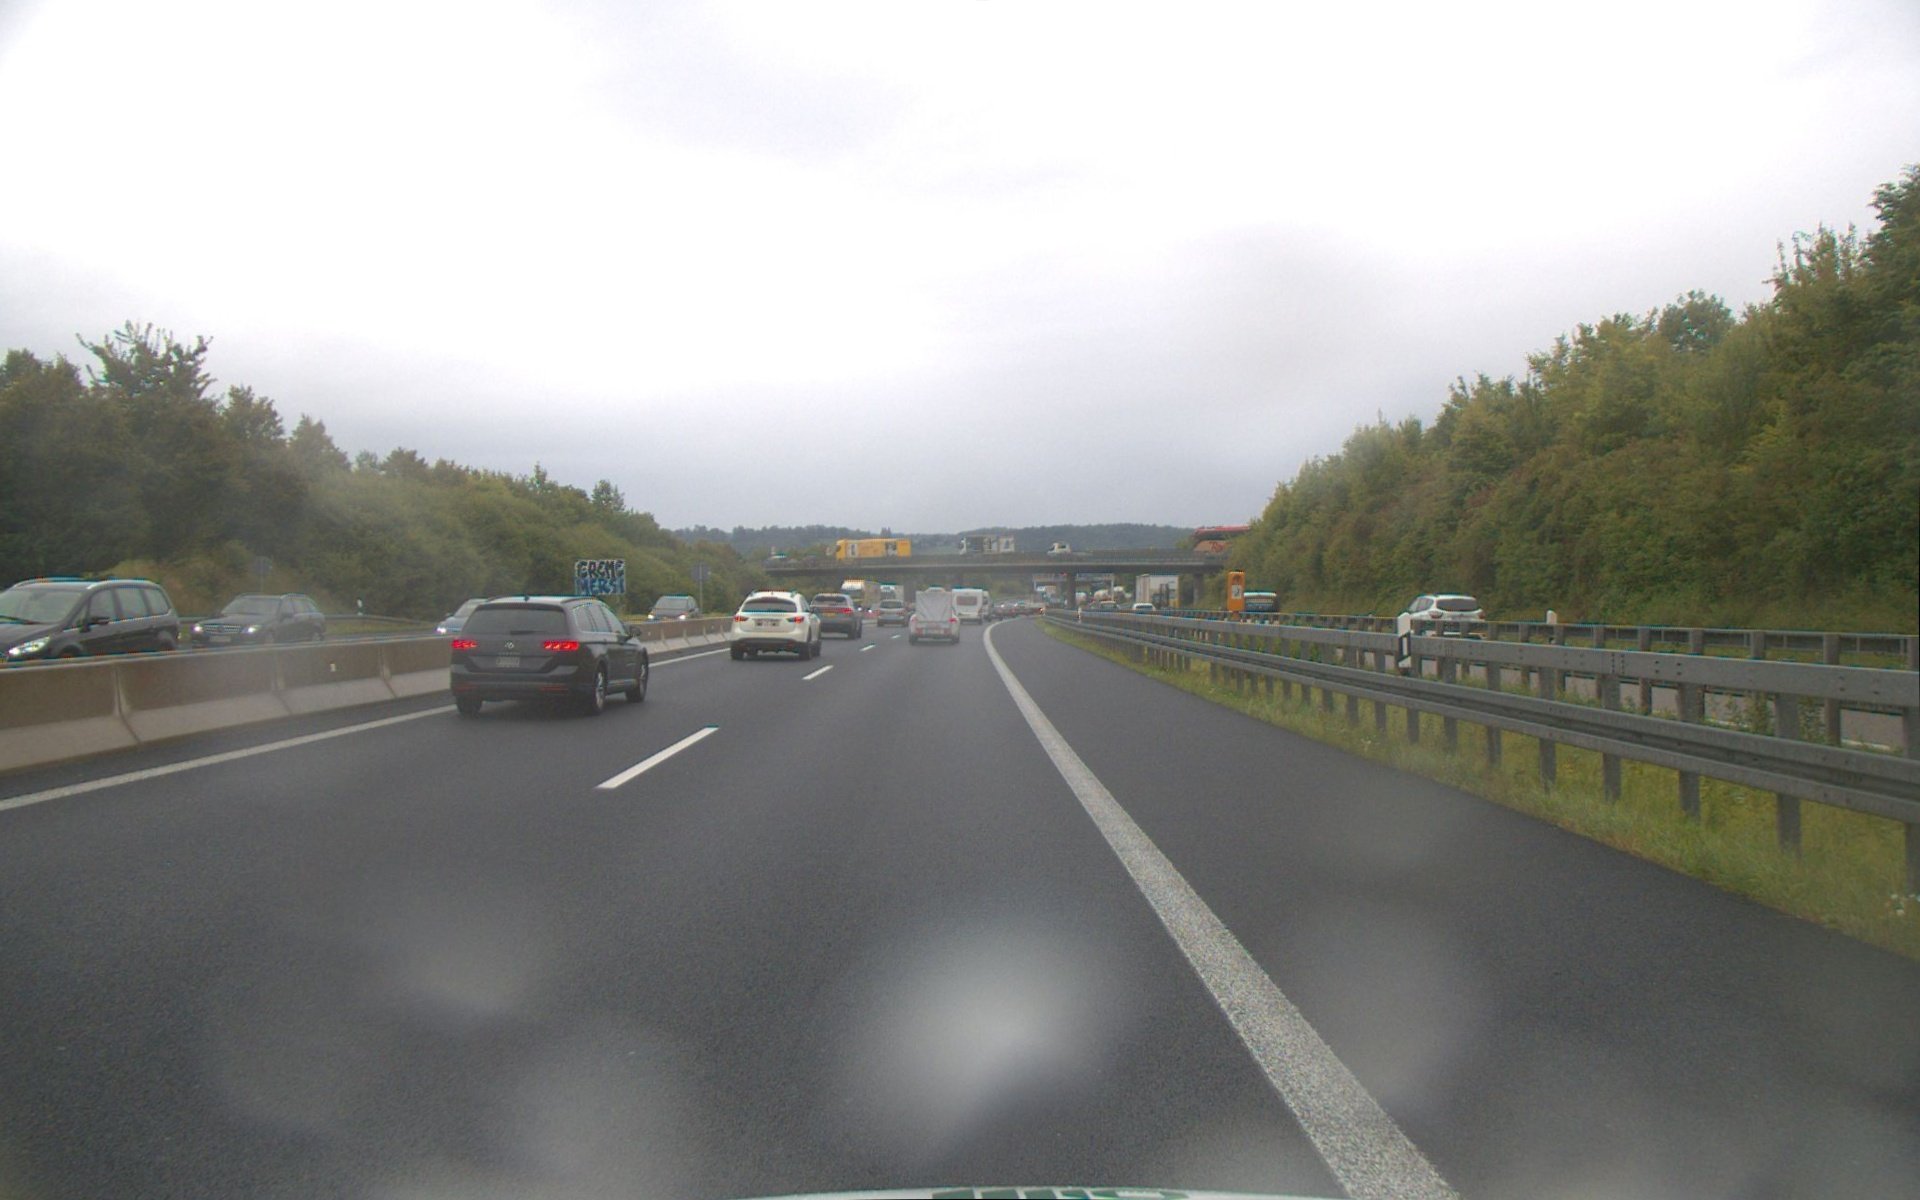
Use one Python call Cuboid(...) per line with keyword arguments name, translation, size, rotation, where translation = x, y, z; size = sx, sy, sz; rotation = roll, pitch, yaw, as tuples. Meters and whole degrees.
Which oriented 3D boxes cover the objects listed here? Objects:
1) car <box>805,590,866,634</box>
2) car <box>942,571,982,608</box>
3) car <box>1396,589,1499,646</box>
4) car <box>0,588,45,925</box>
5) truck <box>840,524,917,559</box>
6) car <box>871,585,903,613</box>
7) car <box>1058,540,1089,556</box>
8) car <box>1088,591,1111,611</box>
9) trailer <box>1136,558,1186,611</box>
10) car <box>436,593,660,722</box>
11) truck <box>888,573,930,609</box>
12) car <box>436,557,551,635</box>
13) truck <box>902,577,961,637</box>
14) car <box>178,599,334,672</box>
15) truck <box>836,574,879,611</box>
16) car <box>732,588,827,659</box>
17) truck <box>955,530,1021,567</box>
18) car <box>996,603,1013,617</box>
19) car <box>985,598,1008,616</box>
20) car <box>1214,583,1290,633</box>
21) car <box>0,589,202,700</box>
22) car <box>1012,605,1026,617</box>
Cuboid(name="car", translation=(-4.805, 0.448, 64.424), size=(2.130, 1.660, 4.499), rotation=(0, 0, -1))
Cuboid(name="car", translation=(0.179, -0.781, 122.527), size=(2.954, 2.662, 6.075), rotation=(0, 1, 1))
Cuboid(name="car", translation=(14.606, 0.484, 49.751), size=(1.858, 1.641, 4.145), rotation=(0, 0, -1))
Cuboid(name="car", translation=(-5.001, 0.682, 5.118), size=(1.861, 1.430, 4.459), rotation=(0, 0, 0))
Cuboid(name="truck", translation=(-12.476, -8.797, 252.135), size=(3.741, 4.920, 15.035), rotation=(0, 0, -38))
Cuboid(name="car", translation=(-4.402, -0.052, 99.551), size=(1.862, 1.641, 4.015), rotation=(0, 0, -3))
Cuboid(name="car", translation=(14.807, -6.780, 215.482), size=(1.825, 1.948, 3.943), rotation=(1, 0, -39))
Cuboid(name="car", translation=(13.026, 0.045, 154.264), size=(1.821, 1.836, 4.648), rotation=(0, 0, 1))
Cuboid(name="trailer", translation=(17.188, -1.317, 142.068), size=(3.366, 4.364, 10.457), rotation=(0, 0, 2))
Cuboid(name="car", translation=(-5.295, 0.687, 21.935), size=(1.862, 1.523, 4.850), rotation=(0, 0, -1))
Cuboid(name="truck", translation=(-5.336, -0.959, 175.743), size=(3.688, 3.616, 13.190), rotation=(0, 0, 2))
Cuboid(name="car", translation=(-12.321, -0.101, 43.951), size=(1.953, 1.935, 4.171), rotation=(1, 0, -2))
Cuboid(name="truck", translation=(-1.006, 0.213, 59.157), size=(1.978, 2.020, 7.212), rotation=(0, 0, -1))
Cuboid(name="car", translation=(-17.000, 0.818, 40.184), size=(1.942, 1.643, 4.421), rotation=(0, 0, -1))
Cuboid(name="truck", translation=(-11.701, -0.823, 190.494), size=(3.688, 4.062, 13.190), rotation=(0, 0, 2))
Cuboid(name="car", translation=(-4.468, 0.552, 41.531), size=(1.936, 1.668, 4.500), rotation=(0, 0, -1))
Cuboid(name="truck", translation=(3.848, -7.074, 230.275), size=(3.741, 4.920, 9.905), rotation=(0, 0, -38))
Cuboid(name="car", translation=(5.640, 1.272, 209.300), size=(1.953, 1.780, 4.000), rotation=(1, 0, 0))
Cuboid(name="car", translation=(3.703, 0.735, 168.166), size=(1.954, 1.780, 3.997), rotation=(1, 0, -4))
Cuboid(name="car", translation=(11.131, 0.282, 63.314), size=(1.968, 1.846, 4.273), rotation=(0, 0, -3))
Cuboid(name="car", translation=(-13.671, 0.609, 25.449), size=(1.942, 1.532, 4.637), rotation=(0, 0, -1))
Cuboid(name="car", translation=(8.594, 1.617, 241.317), size=(1.952, 1.780, 4.000), rotation=(1, 0, 1))
